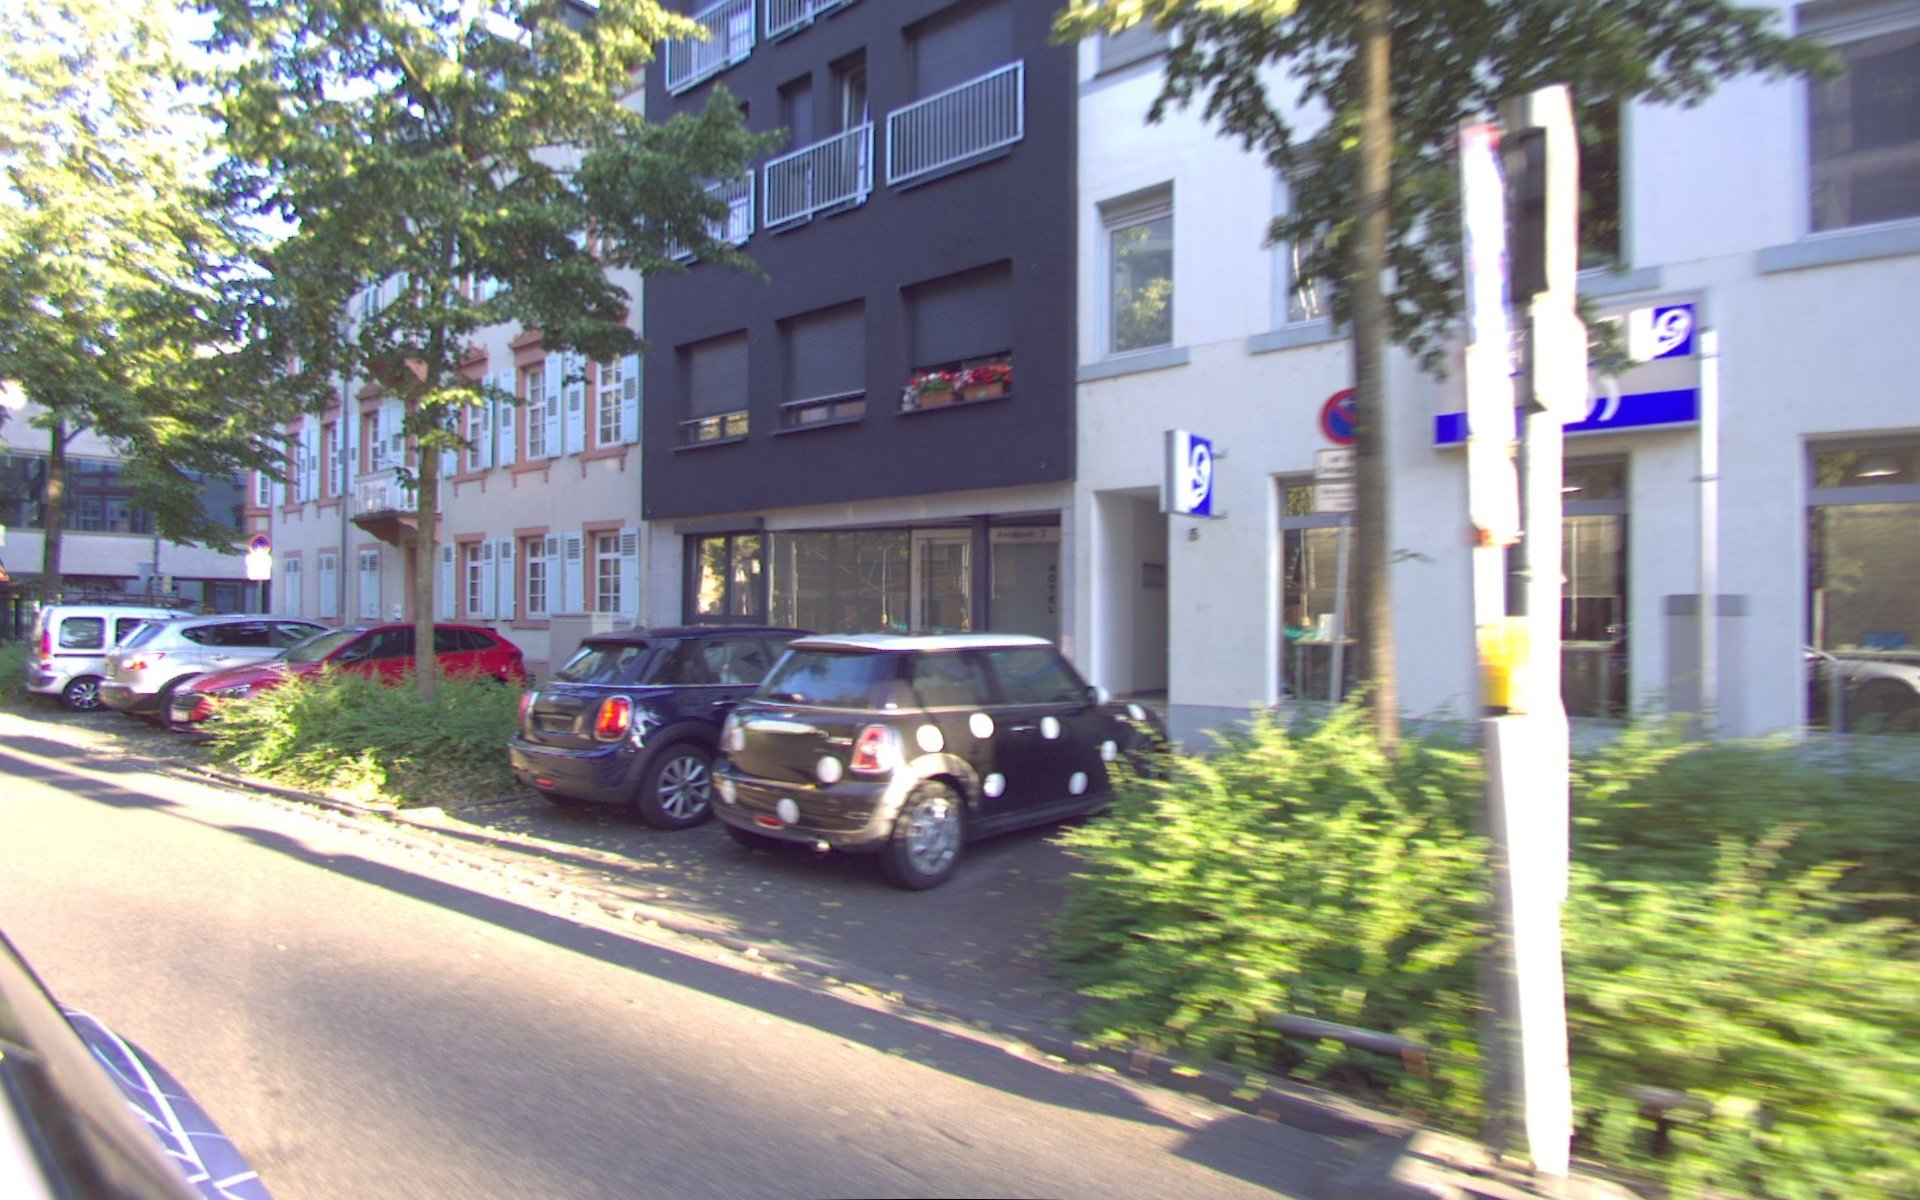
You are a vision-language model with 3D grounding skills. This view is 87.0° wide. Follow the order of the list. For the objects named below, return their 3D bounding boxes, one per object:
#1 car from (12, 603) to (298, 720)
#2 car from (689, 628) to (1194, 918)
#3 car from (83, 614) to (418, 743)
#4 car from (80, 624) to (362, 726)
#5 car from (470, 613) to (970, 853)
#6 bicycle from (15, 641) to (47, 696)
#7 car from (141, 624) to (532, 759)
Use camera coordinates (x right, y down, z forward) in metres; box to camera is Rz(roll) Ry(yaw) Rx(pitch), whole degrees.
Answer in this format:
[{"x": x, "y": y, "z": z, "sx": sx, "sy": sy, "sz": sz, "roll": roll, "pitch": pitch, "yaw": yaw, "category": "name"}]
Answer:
[{"x": -14.337, "y": 1.031, "z": 18.168, "sx": 1.699, "sy": 1.863, "sz": 3.770, "roll": -1, "pitch": -2, "yaw": 41, "category": "car"}, {"x": 0.054, "y": 0.925, "z": 6.953, "sx": 1.685, "sy": 1.402, "sz": 3.362, "roll": -1, "pitch": -1, "yaw": 40, "category": "car"}, {"x": -10.399, "y": 1.034, "z": 15.036, "sx": 1.740, "sy": 1.597, "sz": 3.786, "roll": 0, "pitch": 0, "yaw": 41, "category": "car"}, {"x": -12.392, "y": 1.177, "z": 17.127, "sx": 1.649, "sy": 1.526, "sz": 3.609, "roll": -2, "pitch": -2, "yaw": 43, "category": "car"}, {"x": -1.824, "y": 0.890, "z": 8.640, "sx": 1.855, "sy": 1.529, "sz": 3.855, "roll": -1, "pitch": -1, "yaw": 39, "category": "car"}, {"x": -20.702, "y": 1.513, "z": 22.537, "sx": 1.595, "sy": 1.149, "sz": 0.327, "roll": -1, "pitch": 0, "yaw": 41, "category": "bicycle"}, {"x": -8.242, "y": 1.097, "z": 13.763, "sx": 1.758, "sy": 1.528, "sz": 4.171, "roll": -1, "pitch": -2, "yaw": 35, "category": "car"}]
